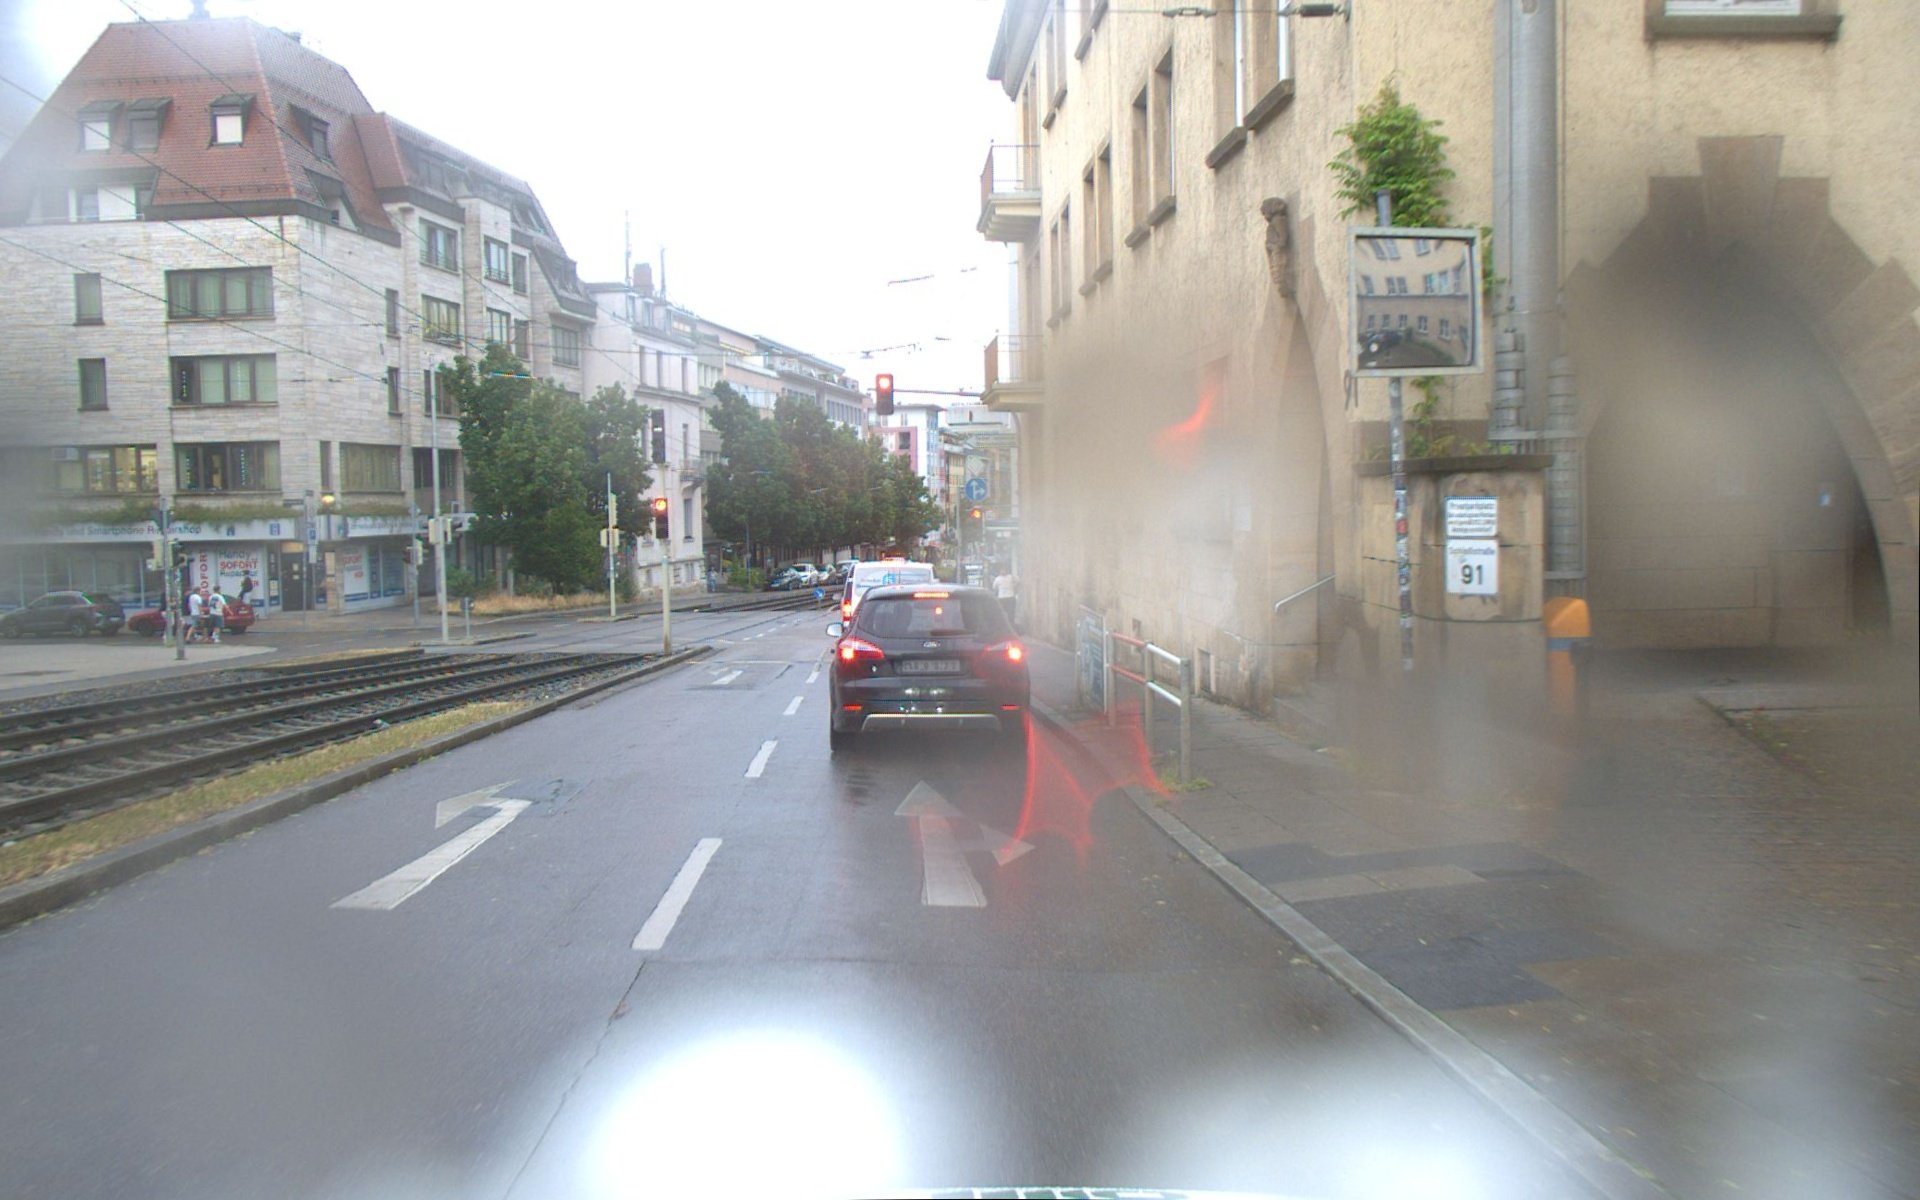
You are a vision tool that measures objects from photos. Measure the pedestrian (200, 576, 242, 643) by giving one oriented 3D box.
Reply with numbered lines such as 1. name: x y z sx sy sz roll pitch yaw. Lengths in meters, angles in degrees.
1. pedestrian: -22.899 0.277 51.246 0.923 2.049 0.764 -1 1 -3

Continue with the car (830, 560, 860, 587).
1. car: -9.210 -2.111 132.552 1.952 2.049 4.001 -1 1 2

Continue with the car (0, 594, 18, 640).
1. car: -36.074 0.641 58.567 4.365 1.596 1.910 -1 1 6

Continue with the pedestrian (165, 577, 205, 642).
1. pedestrian: -24.745 0.293 52.839 0.923 2.049 0.764 -1 1 -7

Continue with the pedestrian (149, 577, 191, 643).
1. pedestrian: -24.606 0.304 51.544 0.923 2.049 0.764 -1 1 -7

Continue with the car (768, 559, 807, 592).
1. car: -11.356 -1.615 108.931 1.952 2.049 4.001 -1 1 2

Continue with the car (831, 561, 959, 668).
1. car: -1.286 0.210 30.872 2.096 1.775 4.213 -2 1 -6

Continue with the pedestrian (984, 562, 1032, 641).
1. pedestrian: 1.129 0.018 39.086 1.024 1.826 0.901 -1 1 -5

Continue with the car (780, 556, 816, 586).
1. car: -11.242 -2.024 115.136 1.952 2.049 4.001 -1 1 2

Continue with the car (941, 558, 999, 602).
1. car: 0.470 -0.876 71.816 1.951 1.803 4.004 -1 1 8

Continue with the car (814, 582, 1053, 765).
1. car: -0.385 0.592 15.758 1.883 1.505 3.994 1 1 -7

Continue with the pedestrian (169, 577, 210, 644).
1. pedestrian: -23.880 0.309 51.270 0.923 2.049 0.764 -1 1 -7

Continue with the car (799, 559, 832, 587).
1. car: -10.605 -1.982 121.605 1.952 2.049 4.001 -1 1 2

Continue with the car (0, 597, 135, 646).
1. car: -31.484 0.755 58.145 4.045 1.596 1.825 -1 1 6

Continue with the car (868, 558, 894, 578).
1. car: -6.968 -2.844 145.793 1.952 1.691 4.001 -1 1 2

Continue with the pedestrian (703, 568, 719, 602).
1. pedestrian: -15.410 -0.935 102.326 0.925 2.049 0.762 -1 1 -12

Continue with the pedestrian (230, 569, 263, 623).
1. pedestrian: -26.756 -0.152 62.029 0.888 1.965 0.824 -1 0 -8

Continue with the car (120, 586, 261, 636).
1. car: -26.739 0.371 57.507 4.045 1.596 1.825 -1 1 6
